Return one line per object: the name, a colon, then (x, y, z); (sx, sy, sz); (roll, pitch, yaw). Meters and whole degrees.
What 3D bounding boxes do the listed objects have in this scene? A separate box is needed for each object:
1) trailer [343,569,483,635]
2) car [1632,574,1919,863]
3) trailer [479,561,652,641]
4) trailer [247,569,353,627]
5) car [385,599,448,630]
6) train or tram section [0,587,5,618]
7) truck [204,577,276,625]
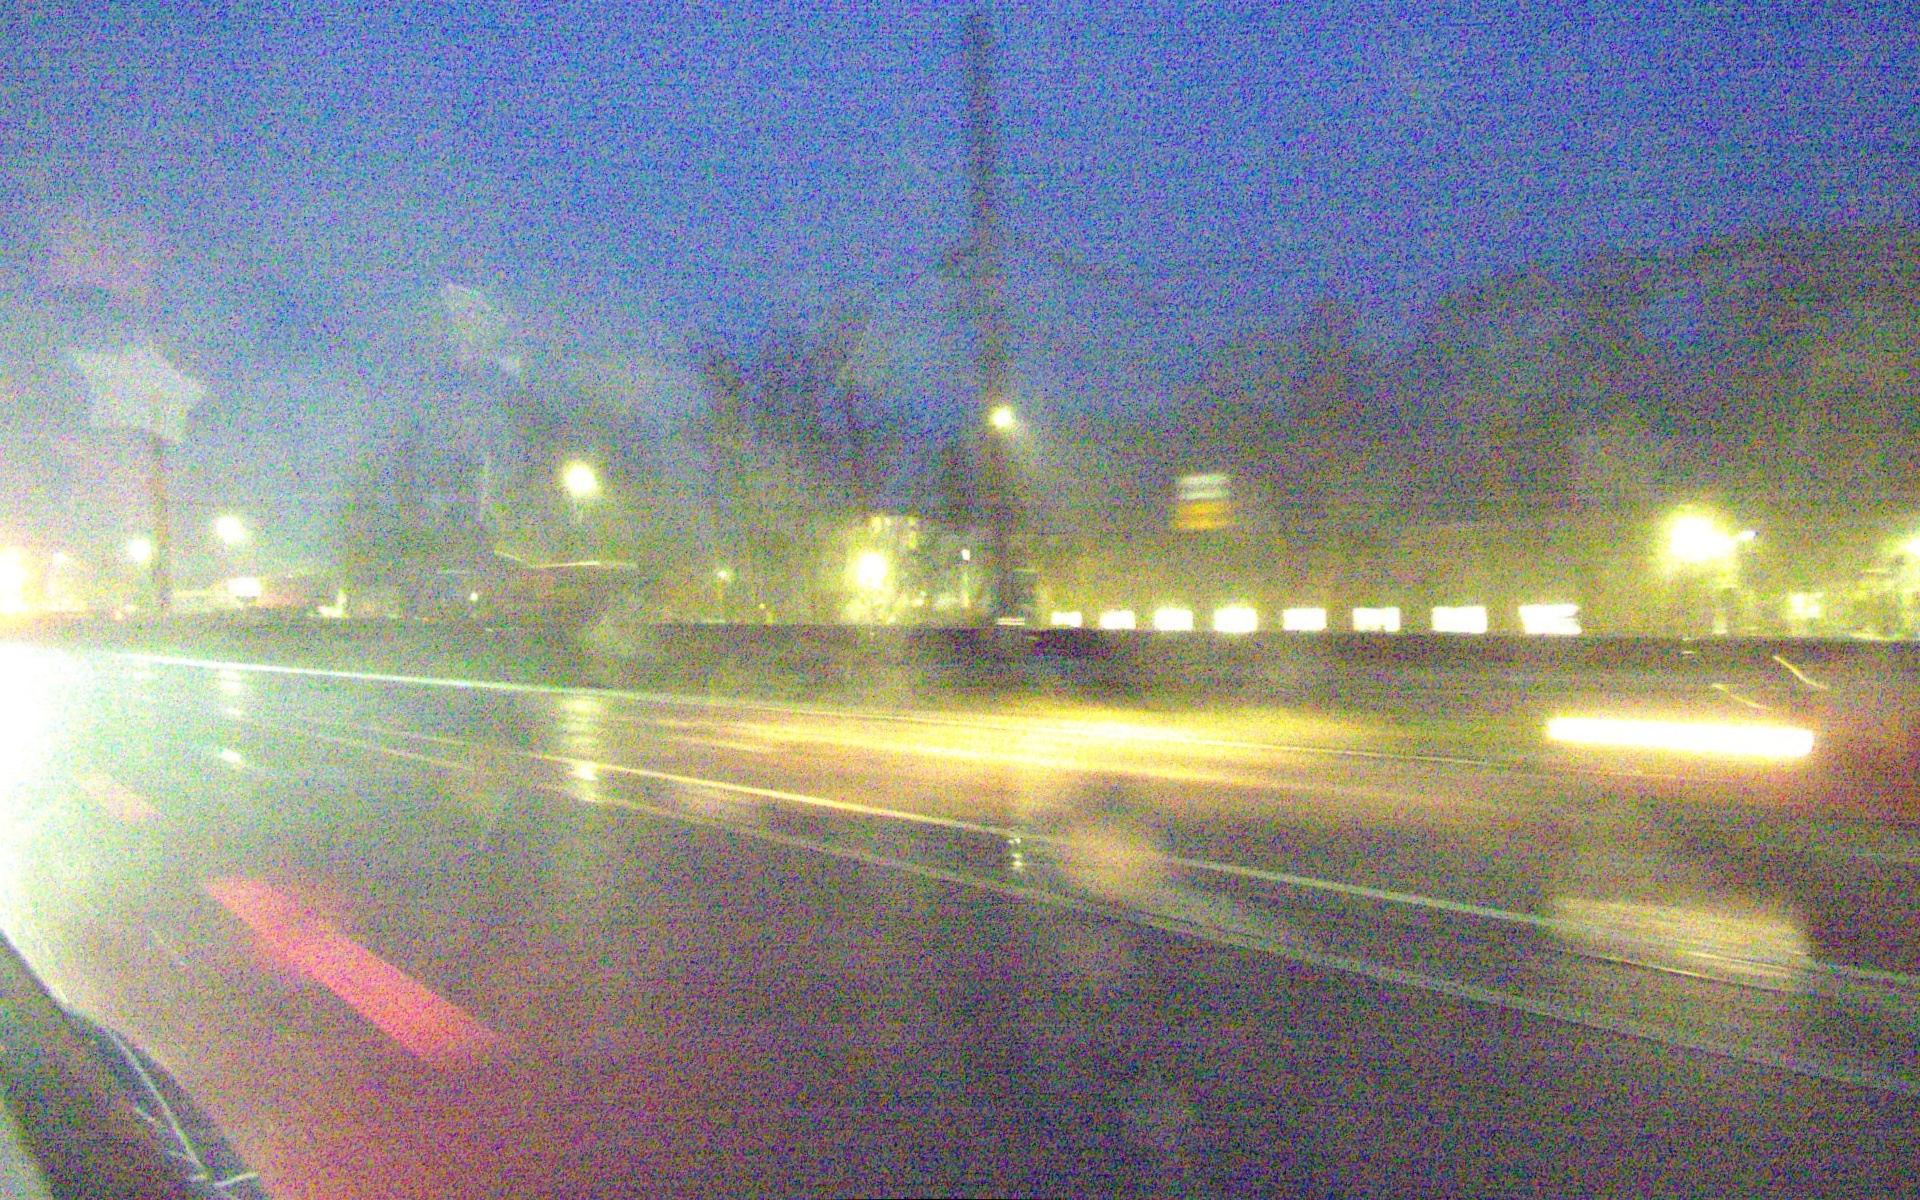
trailer: (-43.607, 0.093, 80.224); (15.499, 4.643, 3.933); (0, 4, 39)
car: (6.411, 0.640, 5.939); (4.024, 1.600, 1.785); (-1, 1, 37)
trailer: (-26.253, -0.016, 66.711); (14.233, 4.643, 3.933); (0, 4, 39)
trailer: (-63.477, -0.206, 97.136); (14.820, 5.049, 3.933); (0, 4, 39)
car: (-32.942, 0.882, 61.339); (4.213, 1.706, 1.769); (-2, 1, 38)
train or tram section: (-137.005, 0.413, 139.740); (37.111, 3.842, 2.670); (0, 4, 40)
truck: (-76.802, 0.077, 107.867); (10.202, 4.643, 3.406); (0, 4, 39)
